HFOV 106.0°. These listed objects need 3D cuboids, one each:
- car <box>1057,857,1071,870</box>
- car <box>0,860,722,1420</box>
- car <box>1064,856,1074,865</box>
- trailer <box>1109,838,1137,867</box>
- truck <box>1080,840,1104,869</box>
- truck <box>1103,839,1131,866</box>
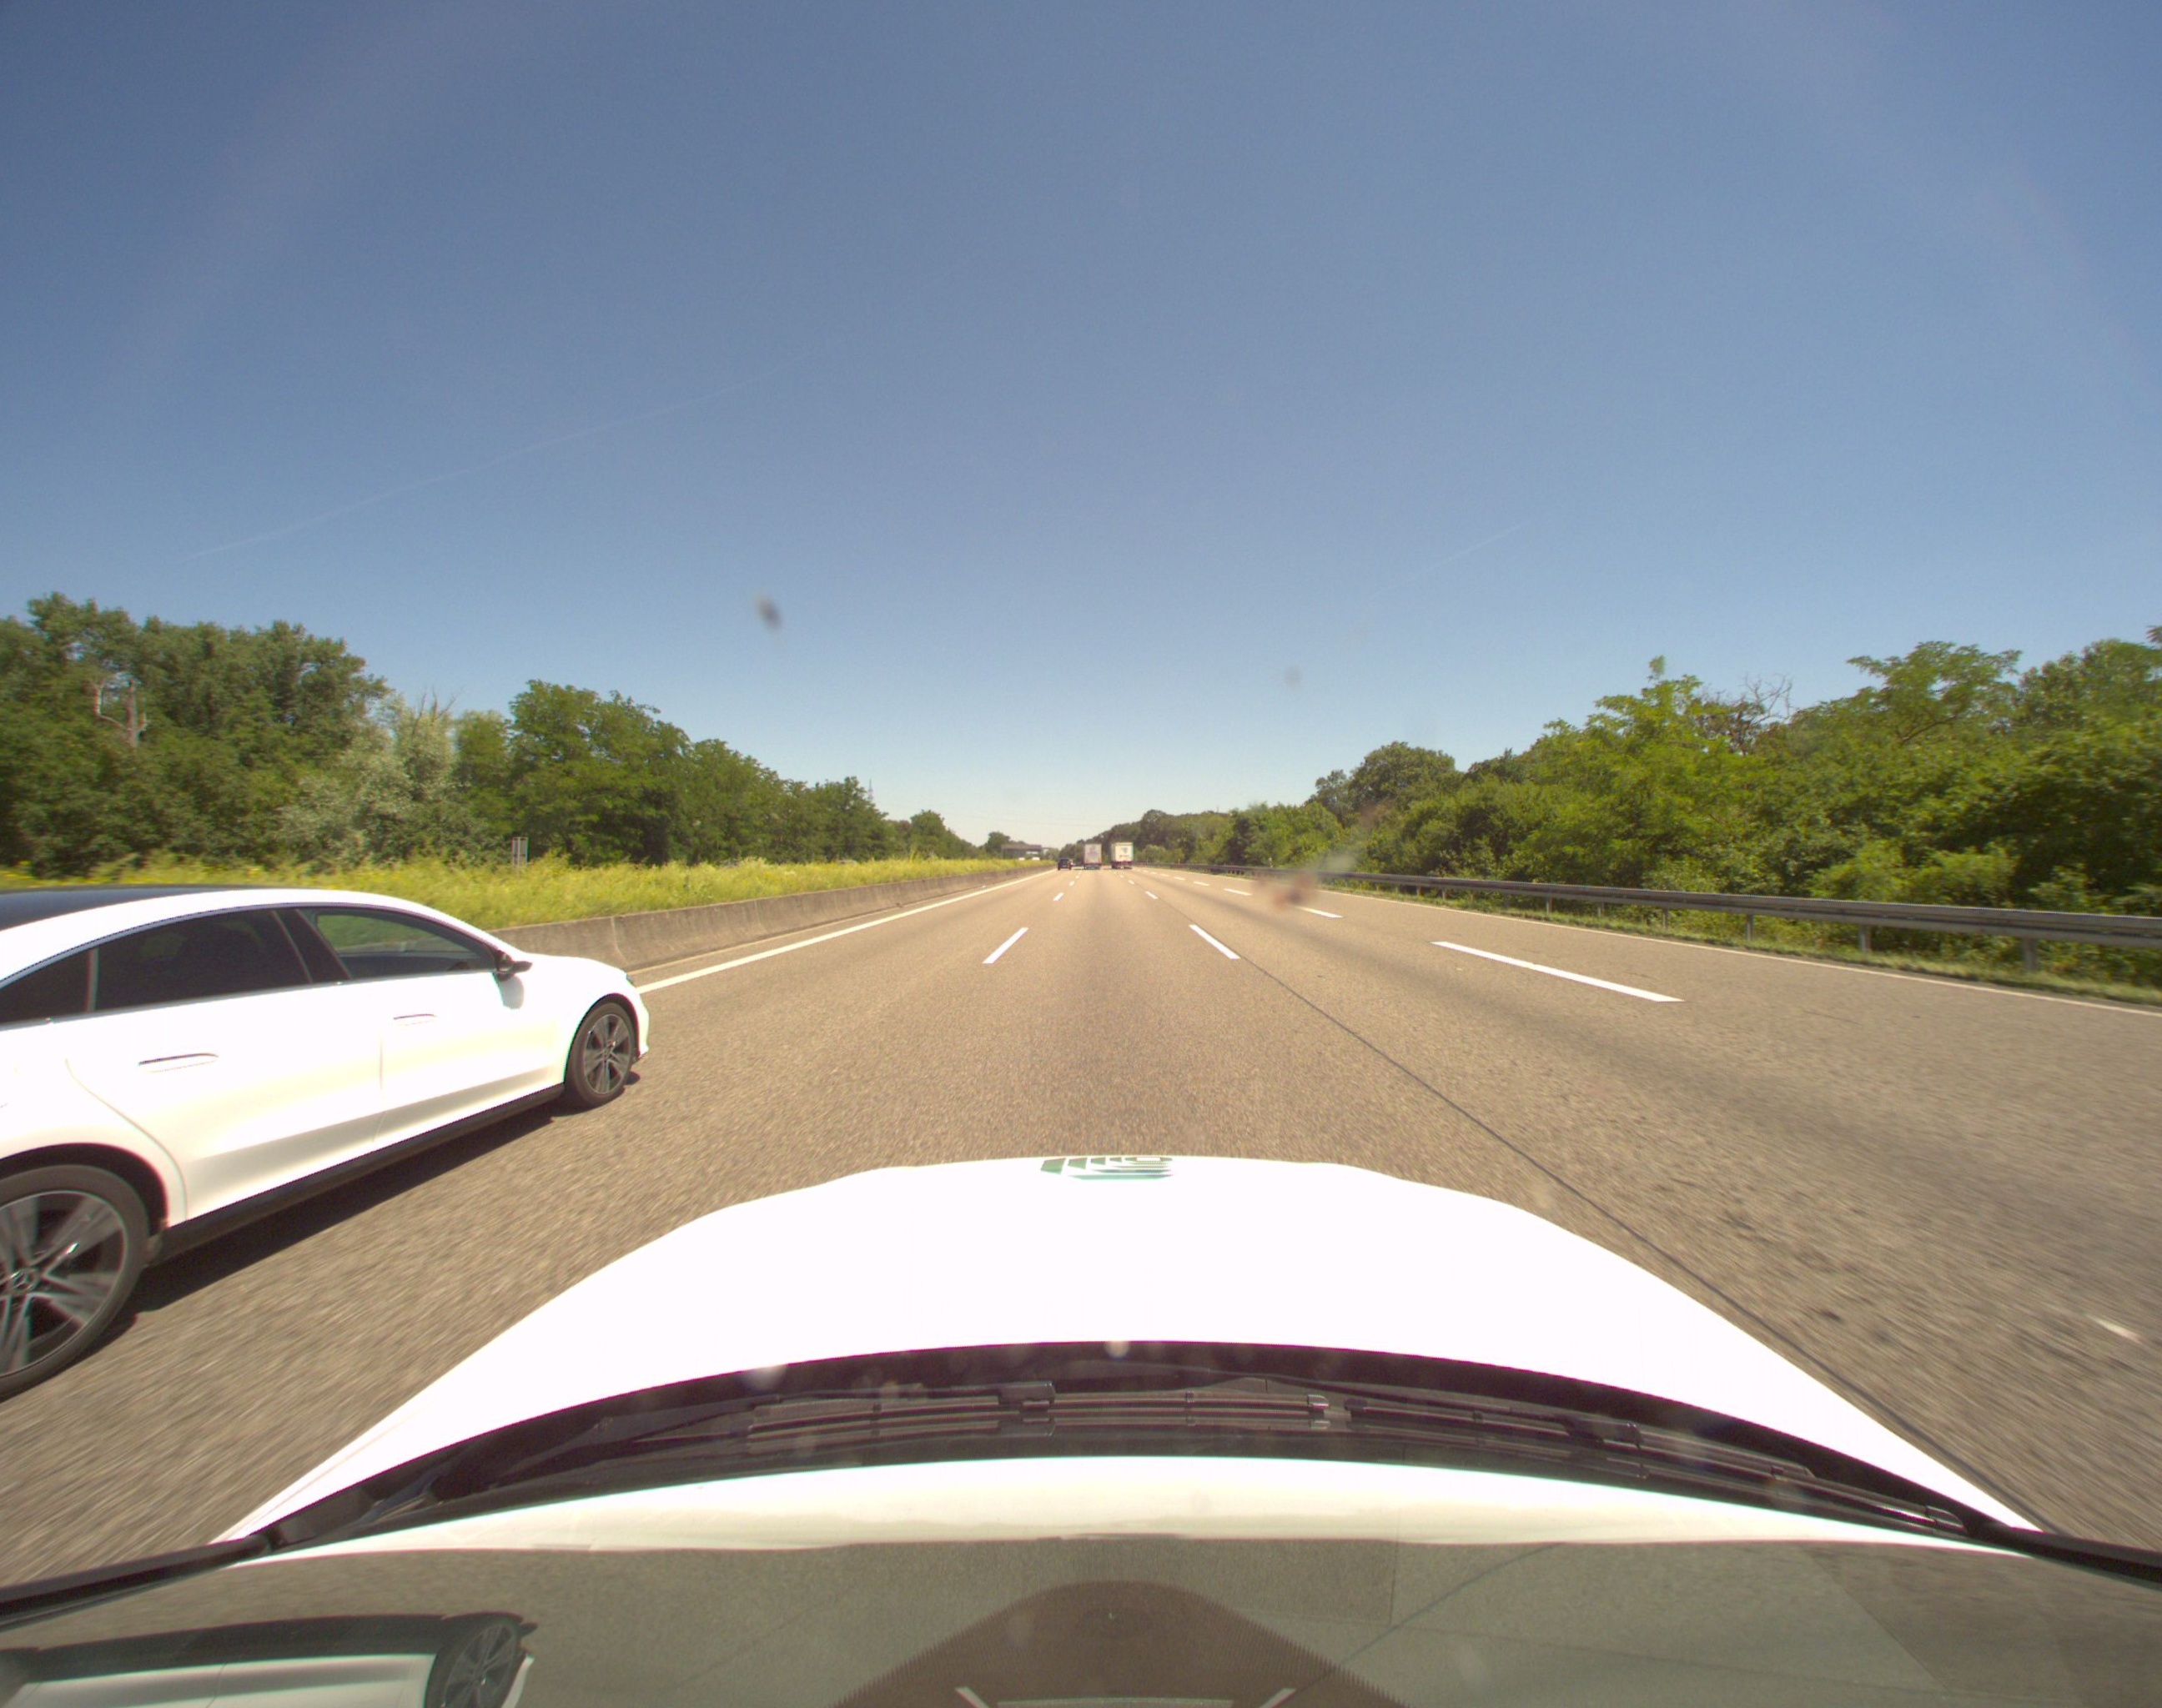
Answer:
[{"bbox_3d":[-2.501,1.340,119.476,1.988,1.874,3.998,0,0,-2],"label":"car"},{"bbox_3d":[-3.896,0.832,4.149,1.760,1.448,5.109,1,1,1],"label":"car"},{"bbox_3d":[-2.604,1.456,177.713,1.988,1.874,3.997,0,0,-2],"label":"car"},{"bbox_3d":[6.182,-0.222,122.158,3.359,4.142,9.082,0,0,-3],"label":"trailer"},{"bbox_3d":[1.657,0.055,123.494,3.221,4.202,8.459,0,0,-2],"label":"truck"},{"bbox_3d":[5.704,-0.247,130.700,3.319,4.053,10.938,0,0,-4],"label":"truck"}]
